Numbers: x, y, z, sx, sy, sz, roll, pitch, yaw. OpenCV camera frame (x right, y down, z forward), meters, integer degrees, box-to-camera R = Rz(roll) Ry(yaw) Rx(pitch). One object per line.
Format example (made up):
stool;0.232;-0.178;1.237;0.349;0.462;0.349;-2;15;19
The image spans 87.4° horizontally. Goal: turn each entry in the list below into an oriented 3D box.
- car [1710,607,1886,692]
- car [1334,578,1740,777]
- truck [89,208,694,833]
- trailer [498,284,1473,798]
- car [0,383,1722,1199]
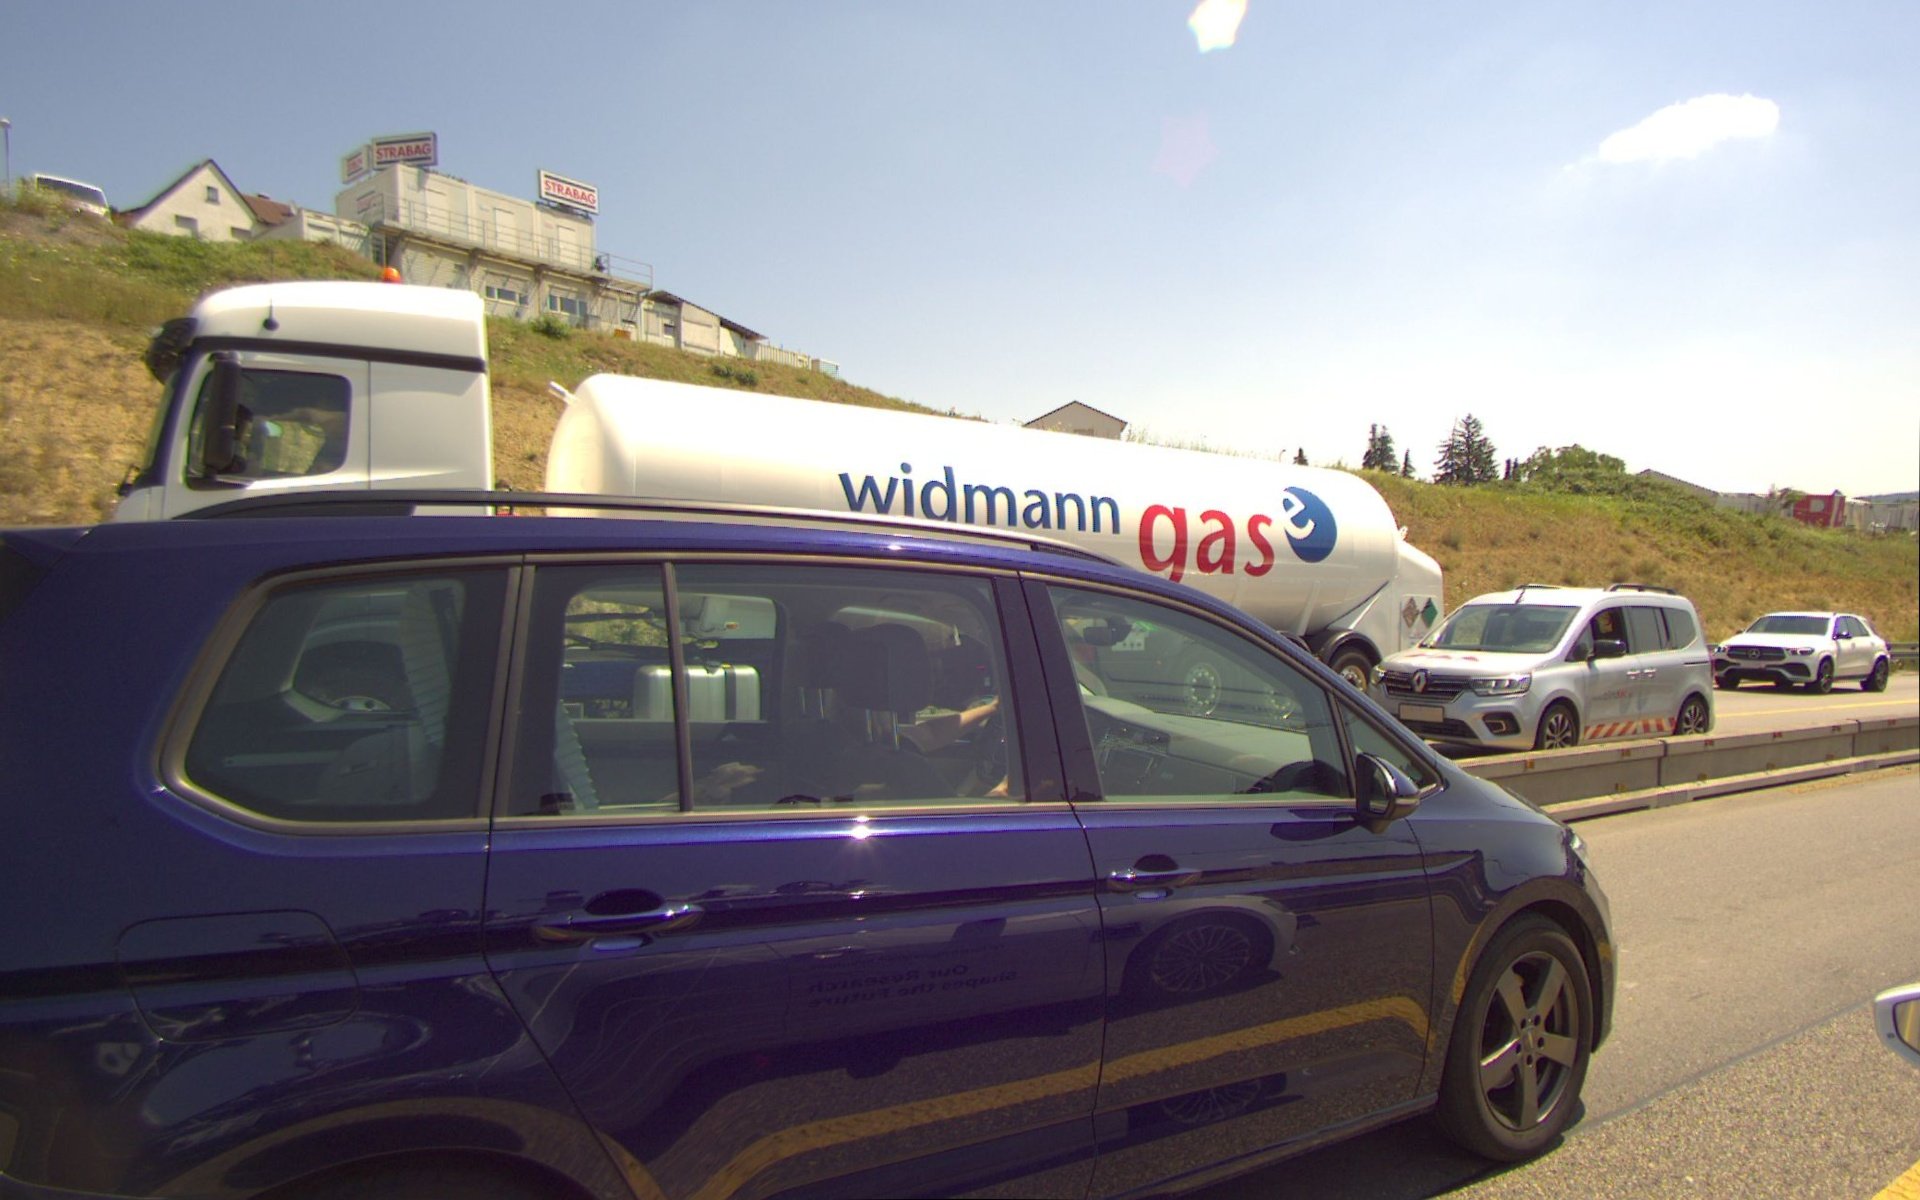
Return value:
car;19.170;1.065;22.934;4.486;1.786;1.781;1;0;-32
car;6.306;0.725;10.869;4.429;1.768;1.871;1;-1;-30
truck;-4.408;-0.480;8.275;3.723;3.853;2.577;1;1;-31
trailer;1.213;-0.382;11.683;11.779;3.853;2.577;1;1;-31
car;-0.042;0.616;2.727;4.598;1.741;1.767;0;1;-31
